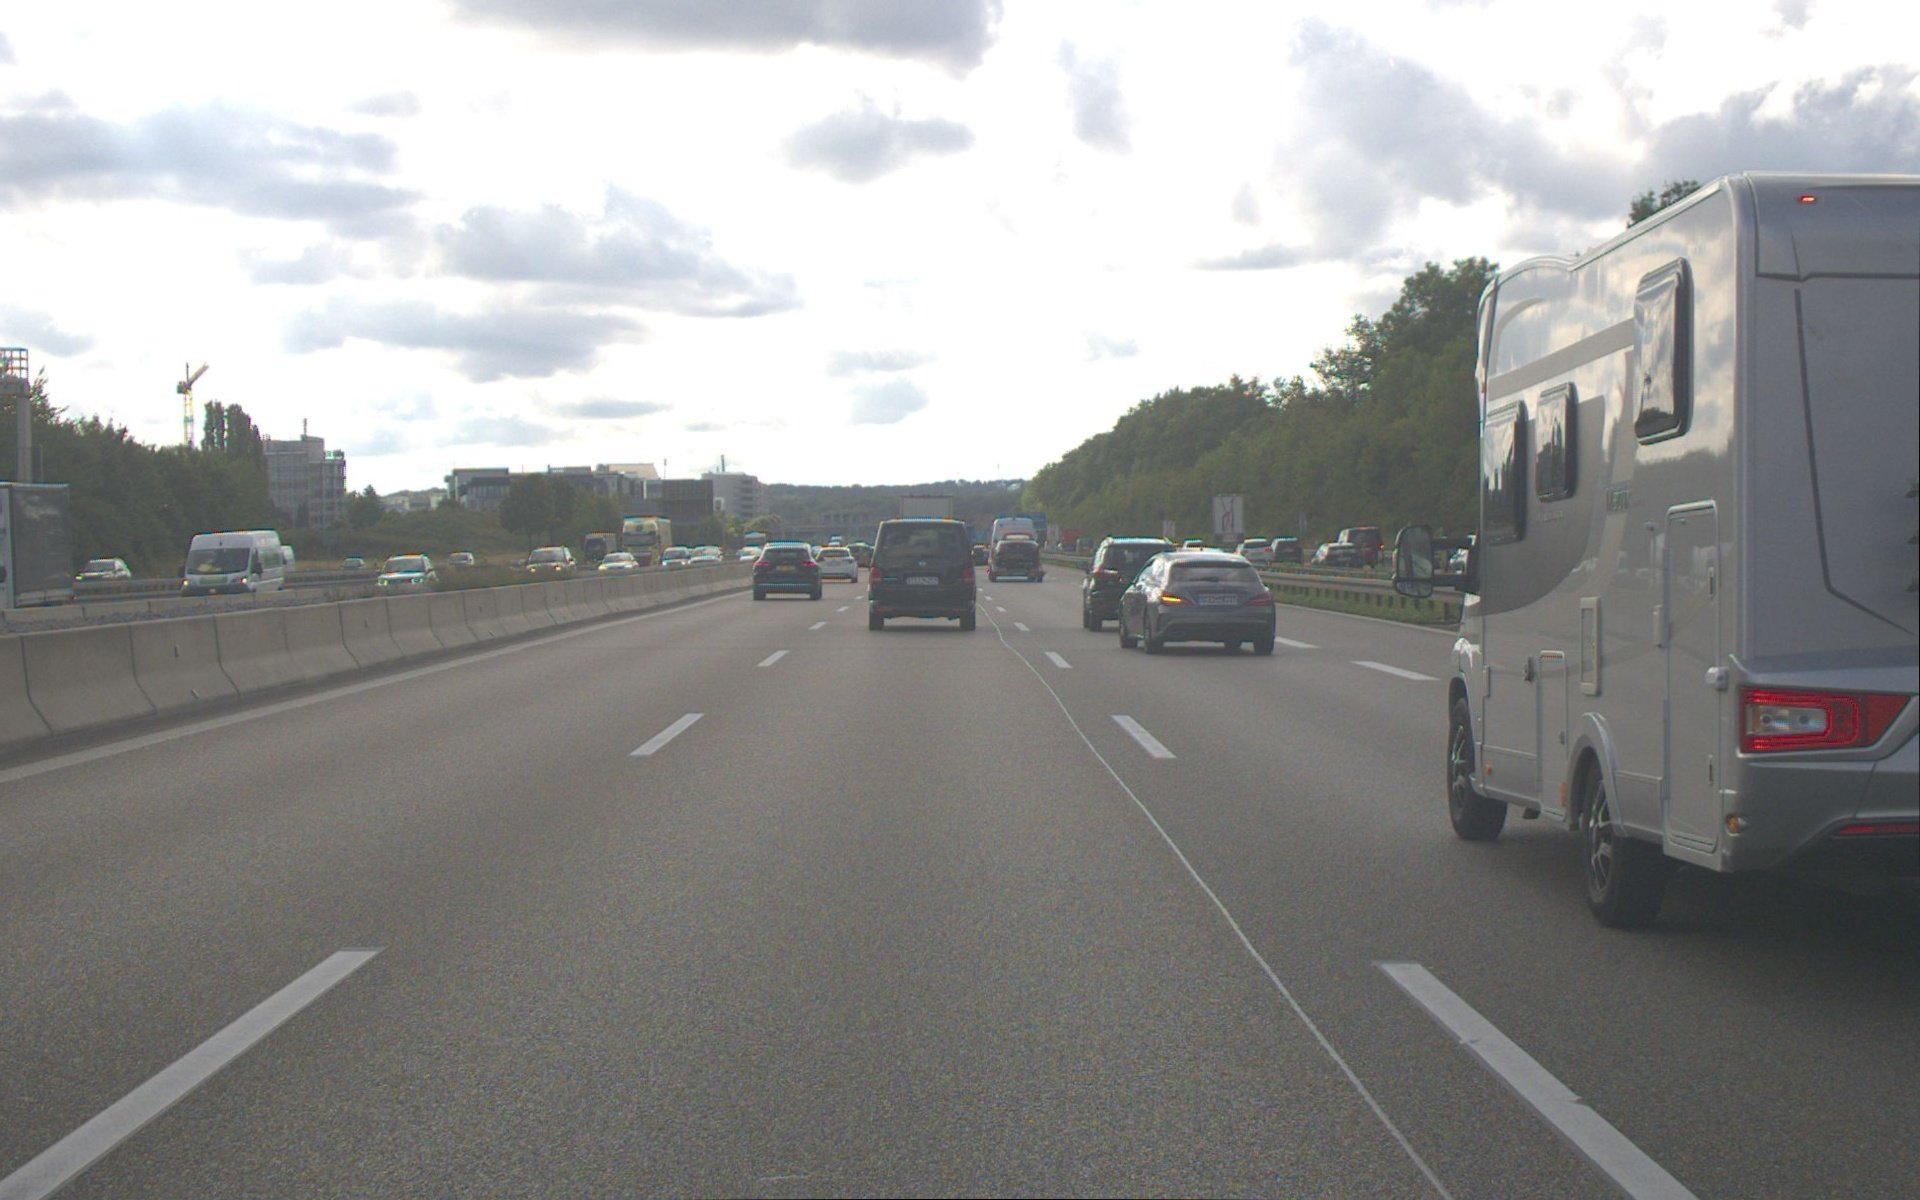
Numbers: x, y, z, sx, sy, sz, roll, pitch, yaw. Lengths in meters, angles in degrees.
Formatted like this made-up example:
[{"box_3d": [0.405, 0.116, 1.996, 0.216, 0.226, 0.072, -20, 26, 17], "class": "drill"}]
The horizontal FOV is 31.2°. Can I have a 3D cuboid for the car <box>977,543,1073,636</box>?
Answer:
[{"box_3d": [1.226, -0.233, 66.640, 1.720, 1.718, 4.392, 0, 1, -1], "class": "car"}]

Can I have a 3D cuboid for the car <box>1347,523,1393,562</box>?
[{"box_3d": [19.589, -2.743, 164.309, 1.595, 1.798, 3.825, 0, 1, -2], "class": "car"}]

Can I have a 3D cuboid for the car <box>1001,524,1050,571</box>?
[{"box_3d": [2.682, -2.152, 141.317, 1.913, 1.912, 4.031, 0, 1, -1], "class": "car"}]

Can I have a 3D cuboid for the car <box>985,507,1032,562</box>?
[{"box_3d": [2.082, -2.815, 148.188, 1.873, 2.349, 4.282, 0, 1, -1], "class": "car"}]

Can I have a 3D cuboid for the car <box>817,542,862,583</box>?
[{"box_3d": [-4.749, -1.503, 135.861, 1.697, 1.605, 4.114, 0, 1, -1], "class": "car"}]

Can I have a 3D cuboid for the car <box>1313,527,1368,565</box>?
[{"box_3d": [15.532, -2.206, 140.492, 1.595, 1.540, 4.191, 0, 1, -2], "class": "car"}]

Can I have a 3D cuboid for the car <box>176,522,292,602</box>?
[{"box_3d": [-21.464, -1.137, 101.928, 2.164, 2.263, 6.462, -1, 1, -1], "class": "car"}]

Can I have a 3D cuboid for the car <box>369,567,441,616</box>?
[{"box_3d": [-17.916, -0.288, 111.038, 1.737, 1.506, 4.052, -1, 1, -1], "class": "car"}]

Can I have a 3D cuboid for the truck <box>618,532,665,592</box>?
[{"box_3d": [-23.247, -2.818, 251.384, 2.896, 4.308, 5.162, -1, 1, 0], "class": "truck"}]

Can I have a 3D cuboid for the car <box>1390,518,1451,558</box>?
[{"box_3d": [18.907, -2.541, 141.257, 1.728, 1.540, 4.306, -2, 1, -2], "class": "car"}]

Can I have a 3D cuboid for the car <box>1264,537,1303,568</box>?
[{"box_3d": [18.343, -2.695, 194.833, 1.752, 1.689, 4.190, 0, 1, -1], "class": "car"}]

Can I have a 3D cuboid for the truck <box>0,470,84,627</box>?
[{"box_3d": [-21.203, -1.115, 74.802, 2.353, 3.252, 7.826, -1, 1, -1], "class": "truck"}]

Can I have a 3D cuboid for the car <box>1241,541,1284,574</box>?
[{"box_3d": [15.472, -2.181, 175.813, 1.752, 1.689, 4.190, 0, 1, -1], "class": "car"}]

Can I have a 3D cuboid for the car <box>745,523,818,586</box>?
[{"box_3d": [-4.951, -1.274, 95.952, 1.873, 1.692, 4.072, 0, 1, -1], "class": "car"}]

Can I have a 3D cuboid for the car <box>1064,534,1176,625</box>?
[{"box_3d": [2.812, -0.390, 61.108, 1.697, 1.559, 4.114, 0, 1, -1], "class": "car"}]

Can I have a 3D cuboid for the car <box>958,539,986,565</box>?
[{"box_3d": [0.774, -3.121, 222.821, 1.752, 1.689, 4.190, 0, 1, -1], "class": "car"}]

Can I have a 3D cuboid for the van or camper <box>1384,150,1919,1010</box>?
[{"box_3d": [3.584, -0.122, 14.704, 2.468, 2.712, 7.662, 1, 1, -1], "class": "van or camper"}]

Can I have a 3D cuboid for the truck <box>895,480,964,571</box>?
[{"box_3d": [-1.527, -3.662, 170.228, 3.263, 4.360, 11.027, 1, 1, -1], "class": "truck"}]

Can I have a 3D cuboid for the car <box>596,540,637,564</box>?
[{"box_3d": [-18.089, -2.543, 181.386, 1.771, 1.290, 4.676, 0, 1, -1], "class": "car"}]

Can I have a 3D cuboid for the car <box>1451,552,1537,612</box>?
[{"box_3d": [16.125, -0.565, 104.028, 1.846, 1.644, 4.306, -2, 1, 0], "class": "car"}]

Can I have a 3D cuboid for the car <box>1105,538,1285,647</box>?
[{"box_3d": [3.285, -0.138, 48.854, 1.720, 1.474, 4.392, 0, 1, -7], "class": "car"}]

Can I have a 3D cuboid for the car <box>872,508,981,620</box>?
[{"box_3d": [-0.606, -0.658, 60.993, 1.855, 1.904, 4.260, 0, 1, -1], "class": "car"}]
